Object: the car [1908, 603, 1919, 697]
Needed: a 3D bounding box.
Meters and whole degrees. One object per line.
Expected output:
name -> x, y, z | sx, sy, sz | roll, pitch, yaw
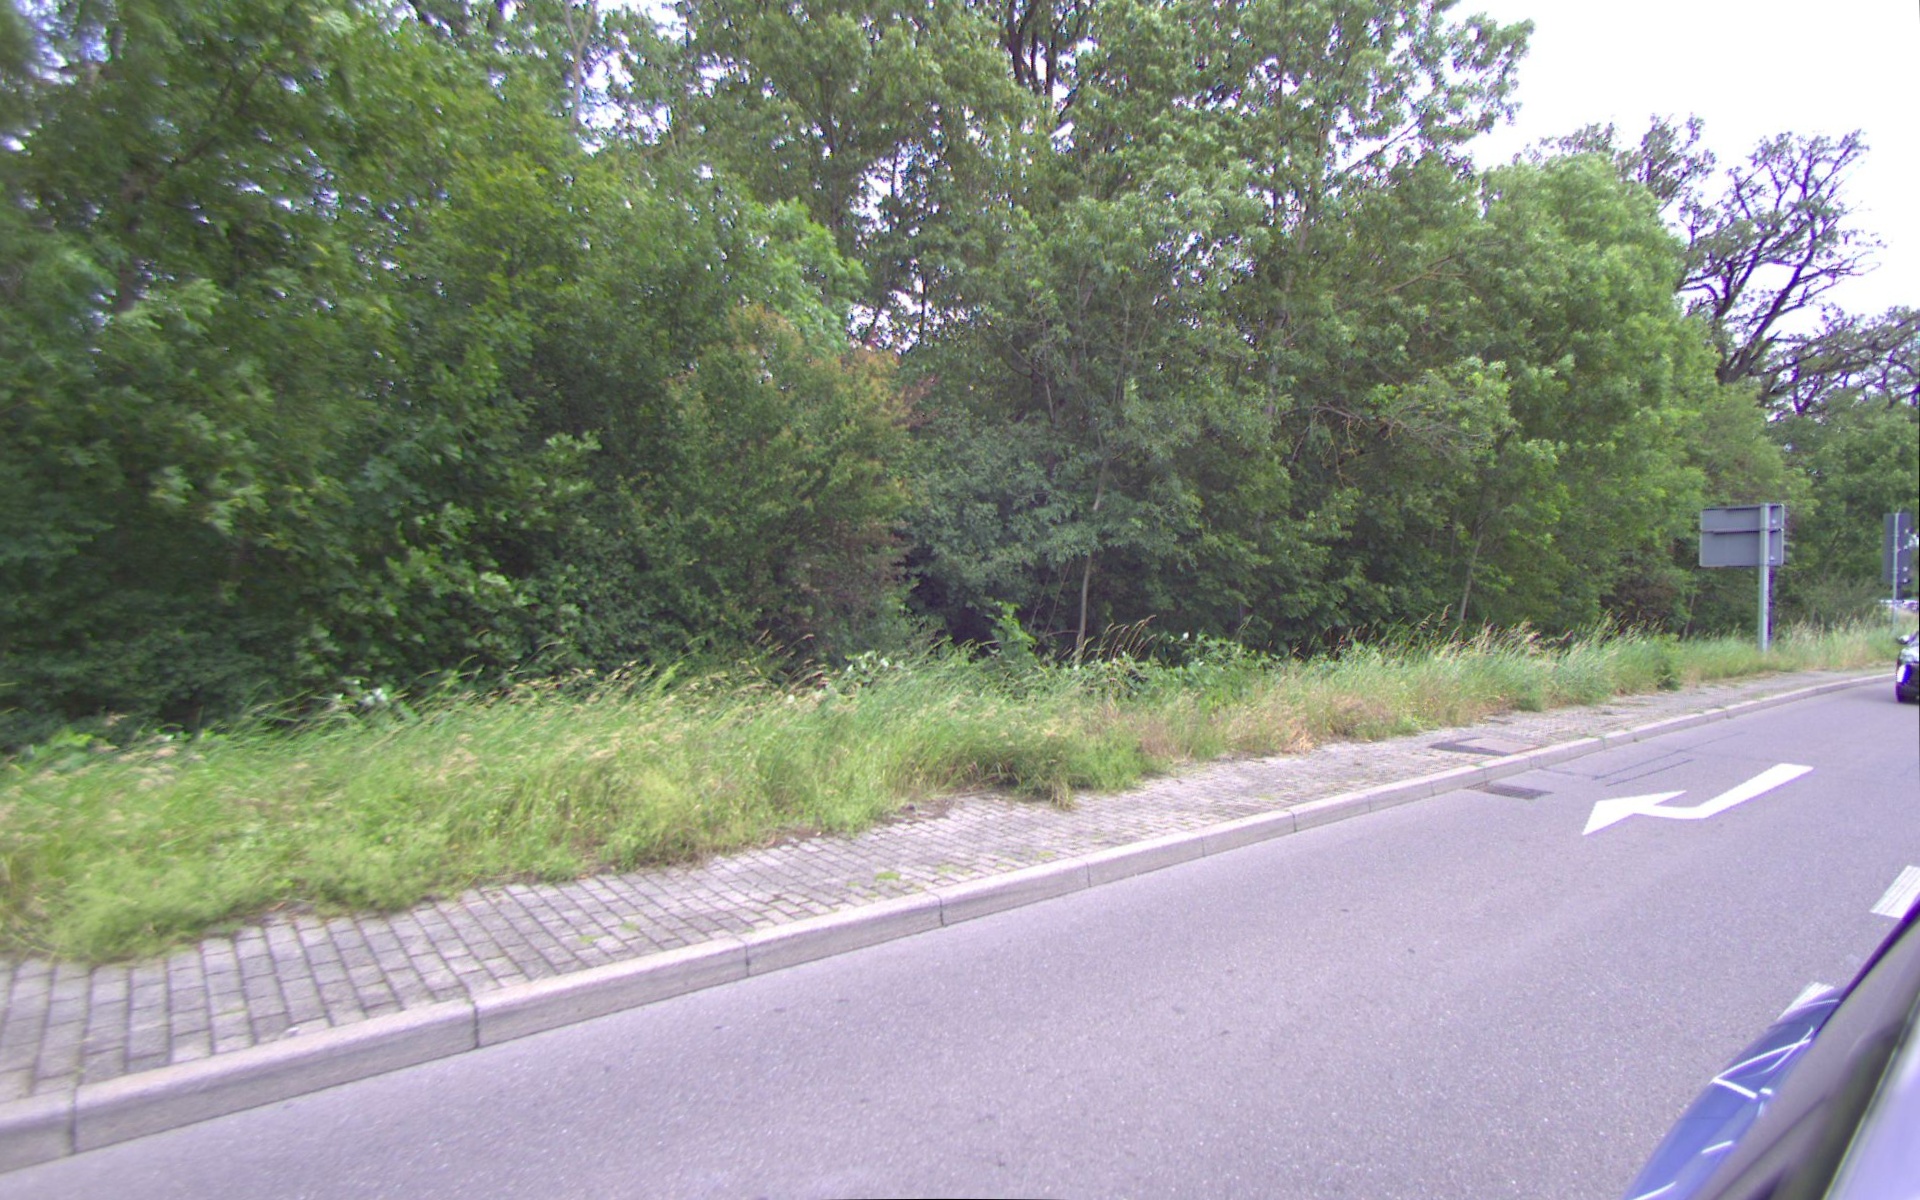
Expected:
car -> 16.989, 0.795, 16.528 | 3.786, 1.476, 1.729 | 0, 1, -40
